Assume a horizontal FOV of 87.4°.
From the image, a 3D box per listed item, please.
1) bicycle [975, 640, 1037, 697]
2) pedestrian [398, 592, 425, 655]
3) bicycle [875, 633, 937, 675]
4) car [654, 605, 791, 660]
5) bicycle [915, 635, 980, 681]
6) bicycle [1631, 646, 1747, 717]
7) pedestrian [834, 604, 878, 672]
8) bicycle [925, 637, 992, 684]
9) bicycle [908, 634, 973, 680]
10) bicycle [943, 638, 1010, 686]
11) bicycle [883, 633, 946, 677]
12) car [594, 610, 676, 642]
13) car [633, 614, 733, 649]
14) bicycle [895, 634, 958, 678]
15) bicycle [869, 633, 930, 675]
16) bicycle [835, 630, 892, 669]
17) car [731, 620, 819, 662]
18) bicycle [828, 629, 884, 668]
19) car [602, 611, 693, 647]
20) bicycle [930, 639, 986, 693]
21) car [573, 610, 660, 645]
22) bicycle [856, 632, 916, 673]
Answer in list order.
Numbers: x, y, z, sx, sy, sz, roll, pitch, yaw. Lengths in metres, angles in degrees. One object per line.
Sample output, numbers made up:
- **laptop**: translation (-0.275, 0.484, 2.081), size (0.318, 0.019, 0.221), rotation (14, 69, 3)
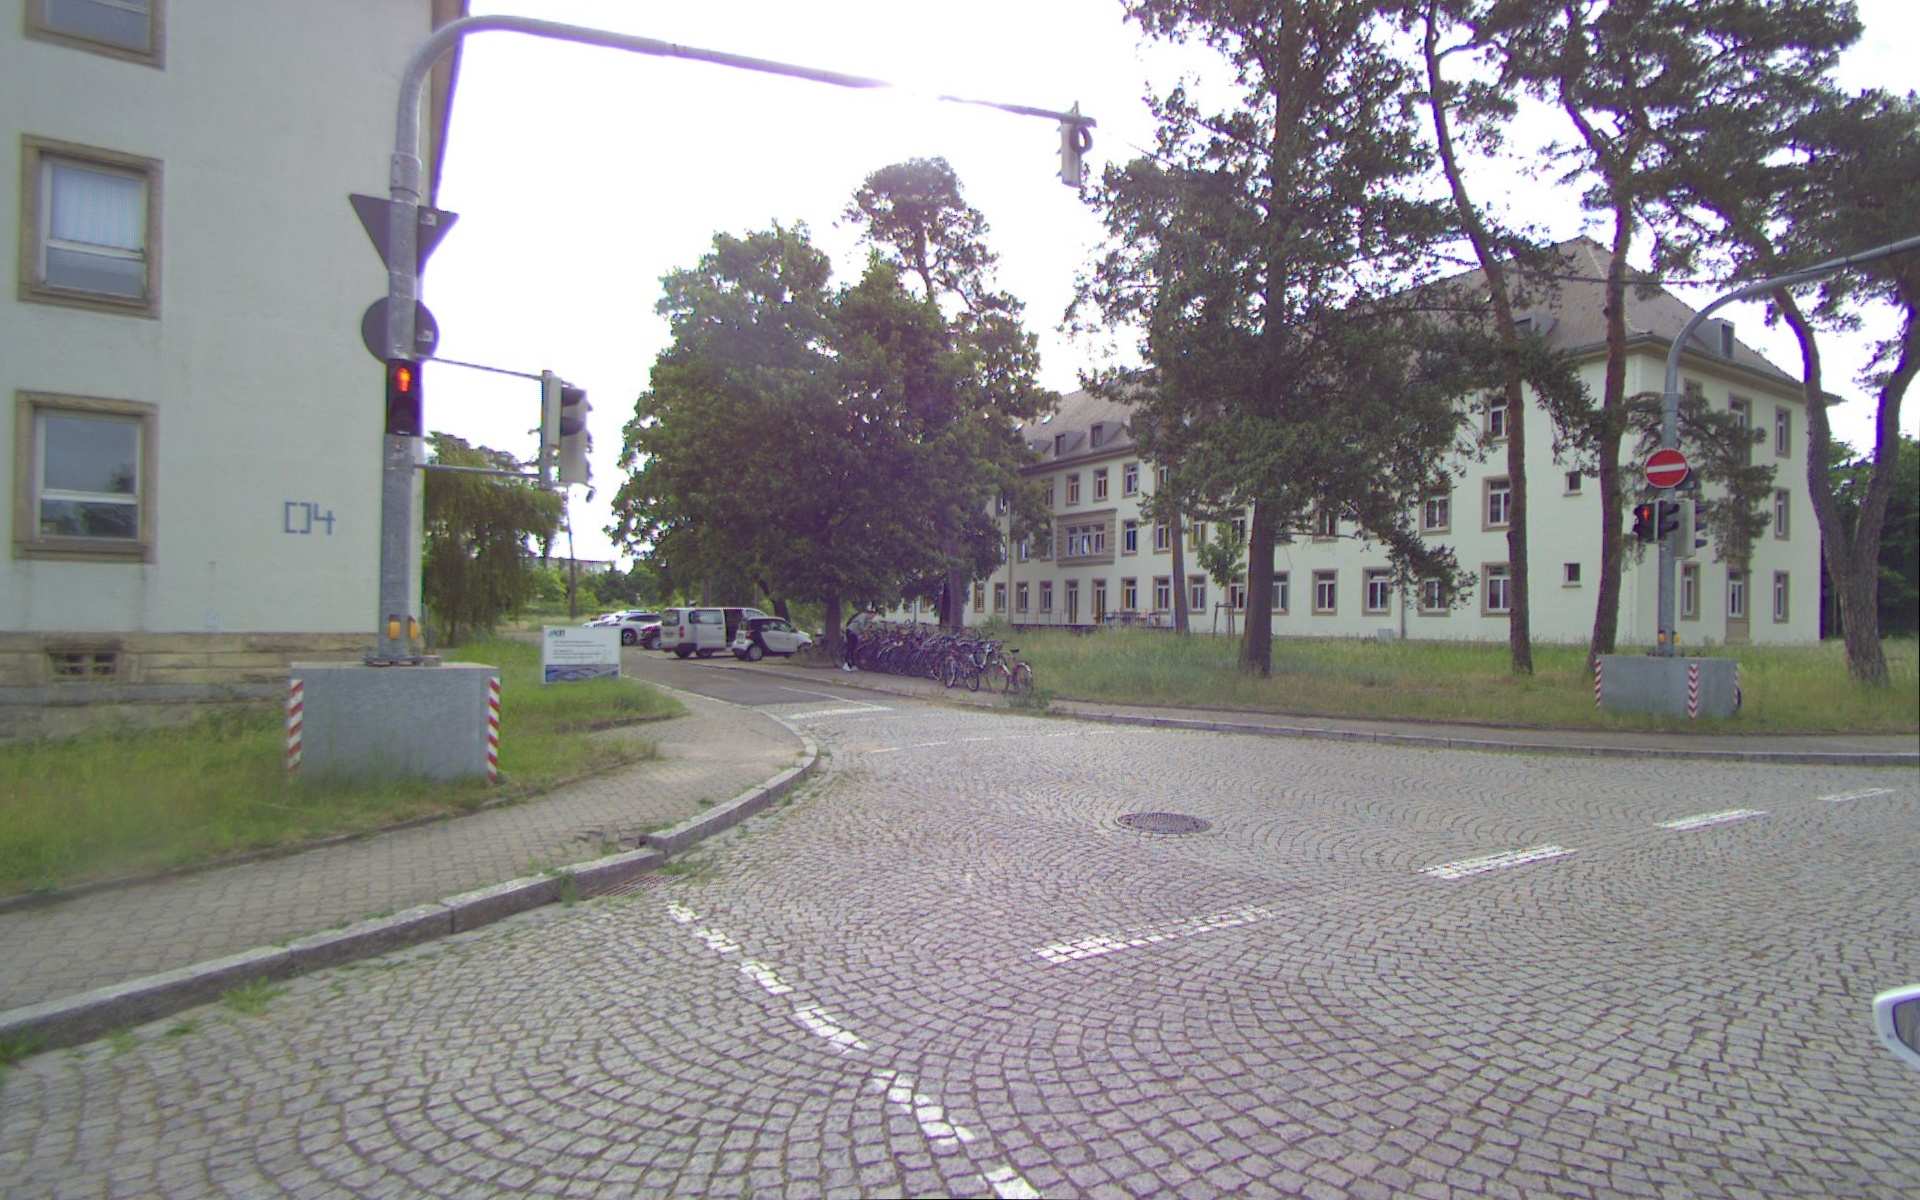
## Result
- **bicycle**: translation (0.914, 1.371, 20.330), size (0.510, 1.079, 1.456), rotation (2, -2, -32)
- **pedestrian**: translation (-16.974, 0.729, 31.100), size (0.674, 1.937, 0.794), rotation (1, -1, -28)
- **bicycle**: translation (-1.413, 1.420, 26.522), size (1.567, 1.093, 0.512), rotation (2, -2, -31)
- **car**: translation (-9.107, 1.235, 38.780), size (4.879, 1.978, 1.839), rotation (2, -1, -45)
- **bicycle**: translation (-0.307, 1.426, 24.782), size (1.567, 1.093, 0.512), rotation (2, -2, -31)
- **bicycle**: translation (11.977, 1.314, 16.541), size (0.510, 1.079, 1.456), rotation (0, -1, -32)
- **pedestrian**: translation (-2.864, 1.028, 27.711), size (1.135, 1.812, 1.064), rotation (0, 0, -3)
- **bicycle**: translation (-0.029, 1.437, 24.128), size (1.566, 1.093, 0.512), rotation (2, -2, -29)
- **bicycle**: translation (-0.486, 1.419, 25.095), size (1.567, 1.093, 0.512), rotation (2, -2, -31)
- **bicycle**: translation (0.388, 1.453, 23.592), size (1.569, 1.093, 0.511), rotation (2, -2, -34)
- **bicycle**: translation (-1.178, 1.426, 26.137), size (1.567, 1.093, 0.512), rotation (2, -2, -31)
- **car**: translation (-18.291, 1.452, 56.628), size (4.053, 1.716, 1.789), rotation (2, -1, -35)
- **car**: translation (-12.759, 1.466, 46.362), size (4.053, 1.547, 1.789), rotation (2, -1, -35)
- **bicycle**: translation (-0.845, 1.416, 25.613), size (1.567, 1.093, 0.512), rotation (2, -2, -31)
- **bicycle**: translation (-1.615, 1.442, 26.849), size (1.567, 1.093, 0.512), rotation (2, -2, -31)
- **bicycle**: translation (-2.764, 1.421, 28.867), size (1.567, 1.093, 0.512), rotation (2, -2, -31)
- **car**: translation (-6.680, 1.478, 36.259), size (2.757, 1.447, 1.509), rotation (2, 0, -31)
- **bicycle**: translation (-3.026, 1.411, 29.292), size (1.567, 1.093, 0.512), rotation (2, -2, -31)
- **car**: translation (-15.827, 1.488, 50.928), size (4.053, 1.716, 1.789), rotation (2, -1, -35)
- **bicycle**: translation (-0.055, 1.409, 21.650), size (0.510, 1.093, 1.456), rotation (2, -2, -32)
- **car**: translation (-18.160, 1.463, 53.142), size (4.053, 1.716, 1.789), rotation (2, -1, -35)
- **bicycle**: translation (-2.018, 1.444, 27.534), size (1.567, 1.093, 0.512), rotation (2, -2, -31)
